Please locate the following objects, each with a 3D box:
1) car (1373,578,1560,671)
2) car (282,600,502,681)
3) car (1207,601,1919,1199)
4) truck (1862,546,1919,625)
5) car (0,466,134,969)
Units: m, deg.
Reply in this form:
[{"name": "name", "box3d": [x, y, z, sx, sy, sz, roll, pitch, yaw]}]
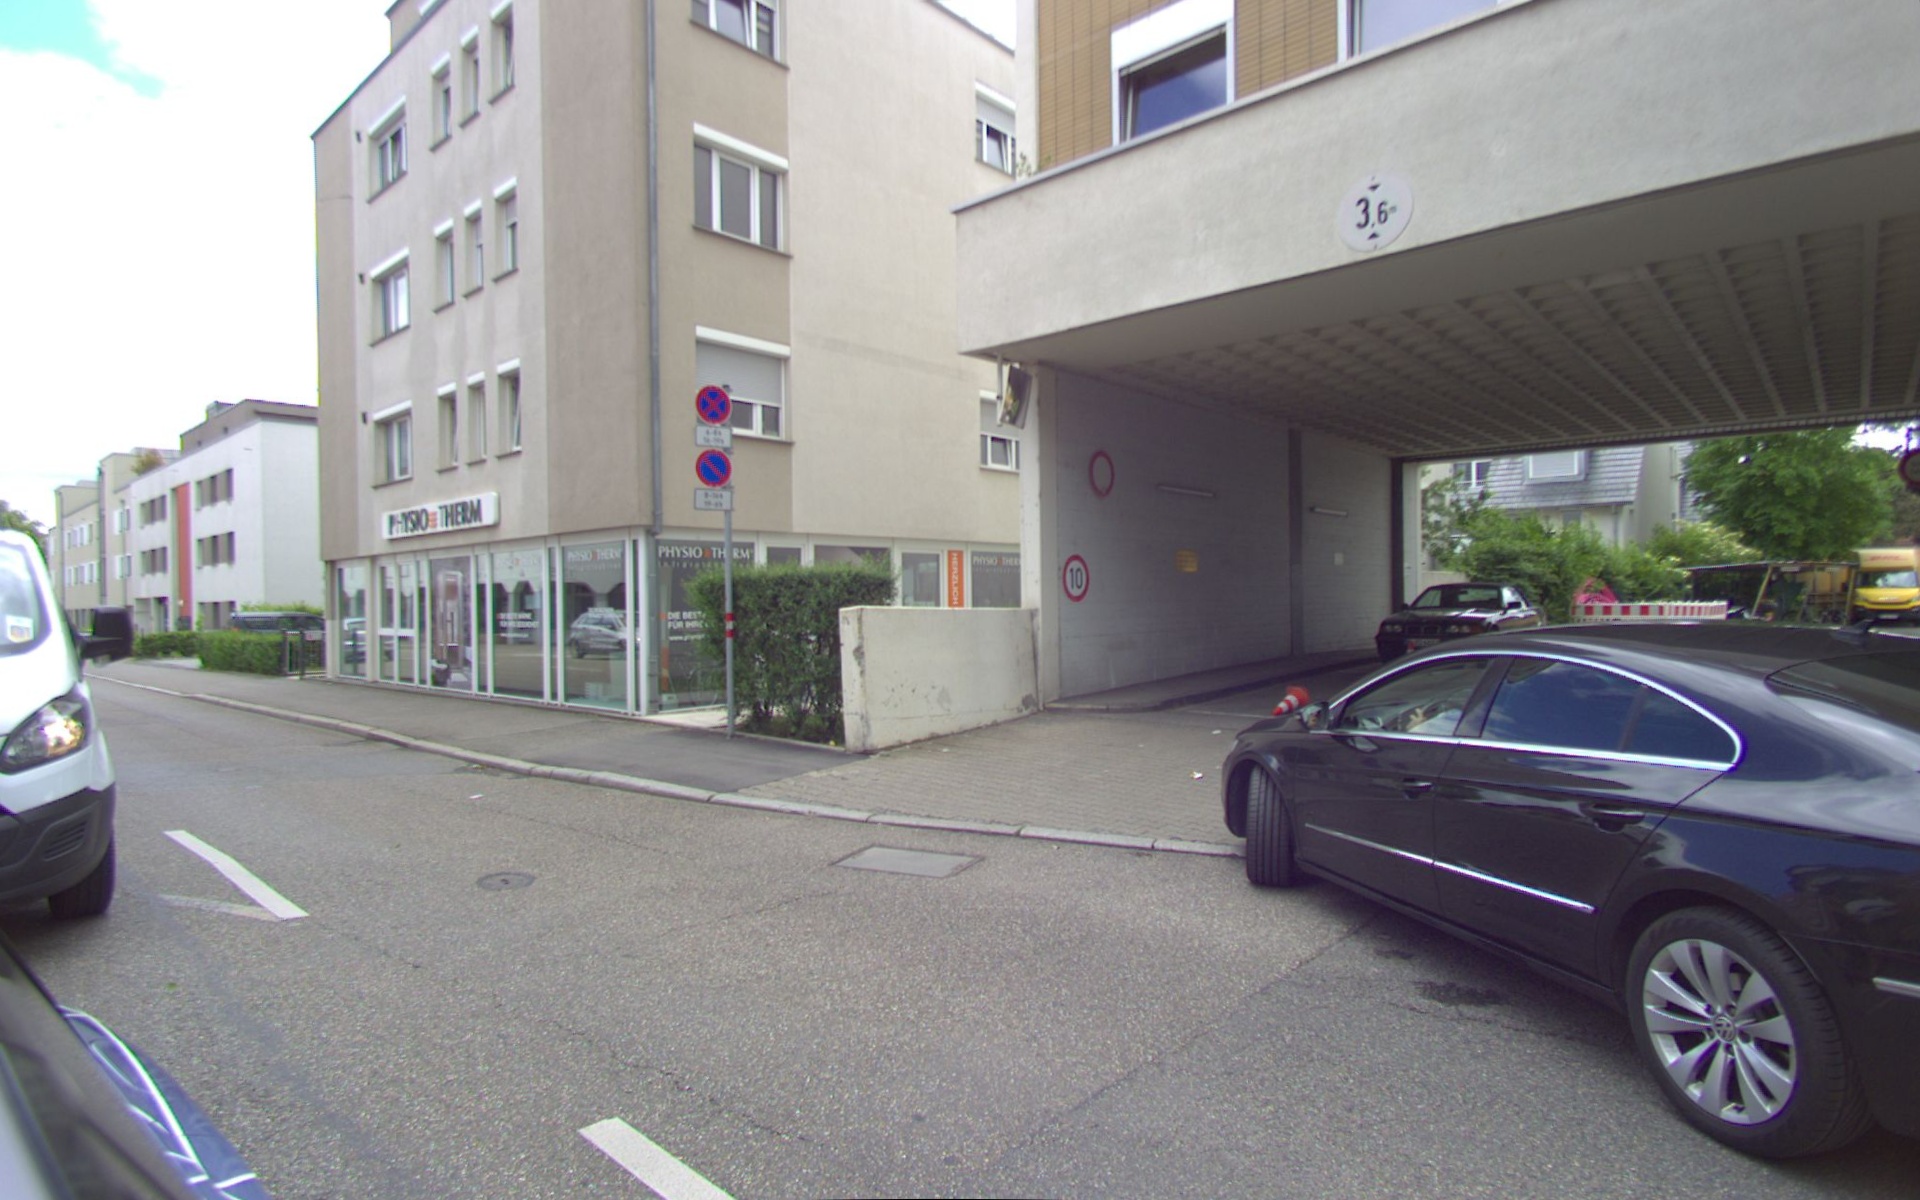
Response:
[{"name": "car", "box3d": [8.435, 0.334, 16.648, 1.624, 1.333, 4.391, -1, 0, 42]}, {"name": "car", "box3d": [-15.703, 1.048, 28.186, 1.967, 2.013, 5.014, -2, -1, 44]}, {"name": "car", "box3d": [2.664, 0.725, 3.882, 1.630, 1.409, 4.463, -1, 0, -10]}, {"name": "truck", "box3d": [36.043, -0.613, 38.373, 7.185, 2.772, 2.002, -2, 1, -43]}, {"name": "car", "box3d": [-6.122, 0.520, 5.299, 5.084, 2.013, 1.939, -2, -1, 41]}]
